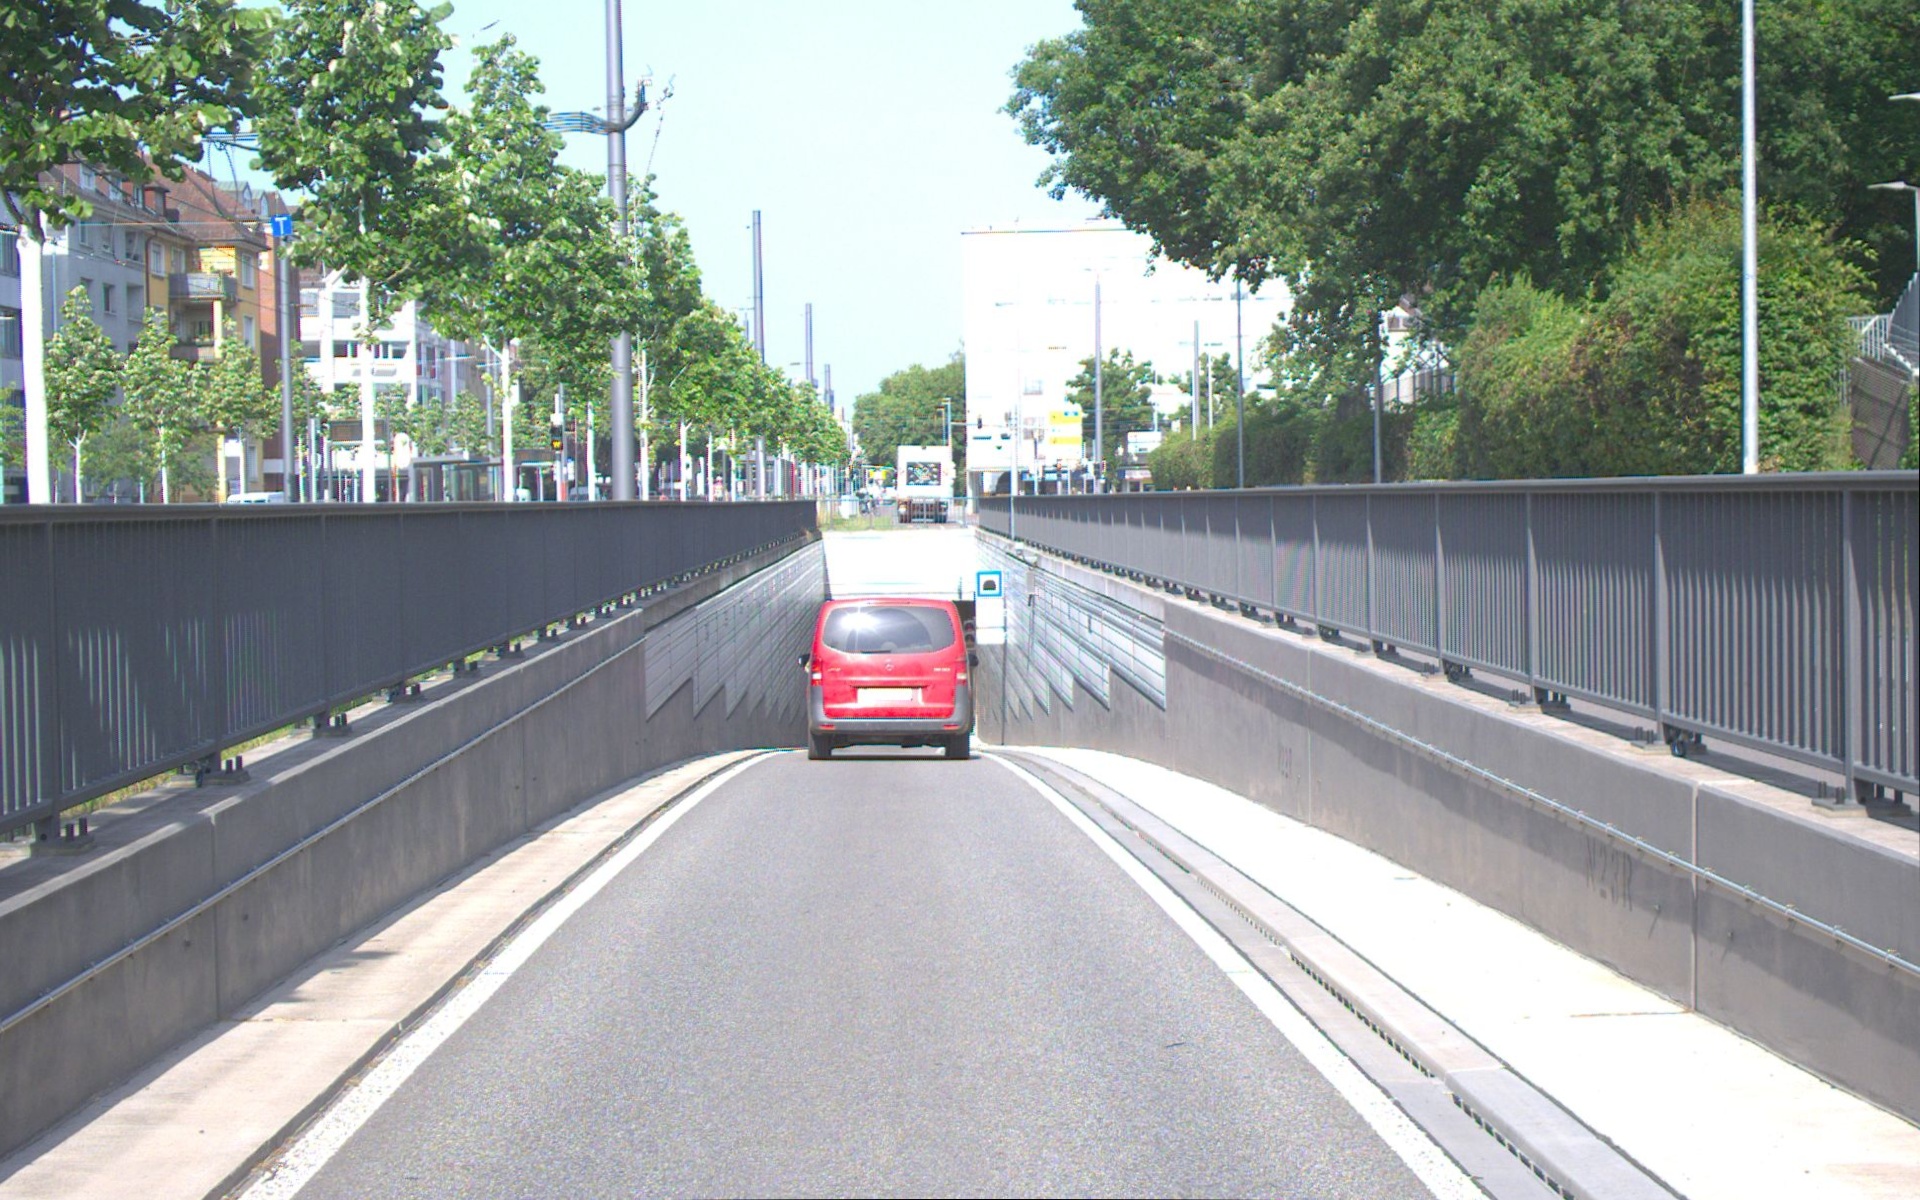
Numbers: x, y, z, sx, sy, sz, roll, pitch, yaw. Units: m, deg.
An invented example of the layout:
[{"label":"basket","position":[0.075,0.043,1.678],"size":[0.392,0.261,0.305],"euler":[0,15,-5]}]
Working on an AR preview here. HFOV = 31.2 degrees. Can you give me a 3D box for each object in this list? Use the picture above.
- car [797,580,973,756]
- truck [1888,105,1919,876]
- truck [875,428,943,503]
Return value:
[{"label":"car","position":[-0.843,0.759,40.799],"size":[1.901,1.853,4.000],"euler":[1,2,1]},{"label":"truck","position":[5.178,-0.342,9.995],"size":[2.502,3.050,7.821],"euler":[1,1,-2]},{"label":"truck","position":[-2.693,-6.961,179.250],"size":[3.391,3.713,10.453],"euler":[-1,2,-1]}]
